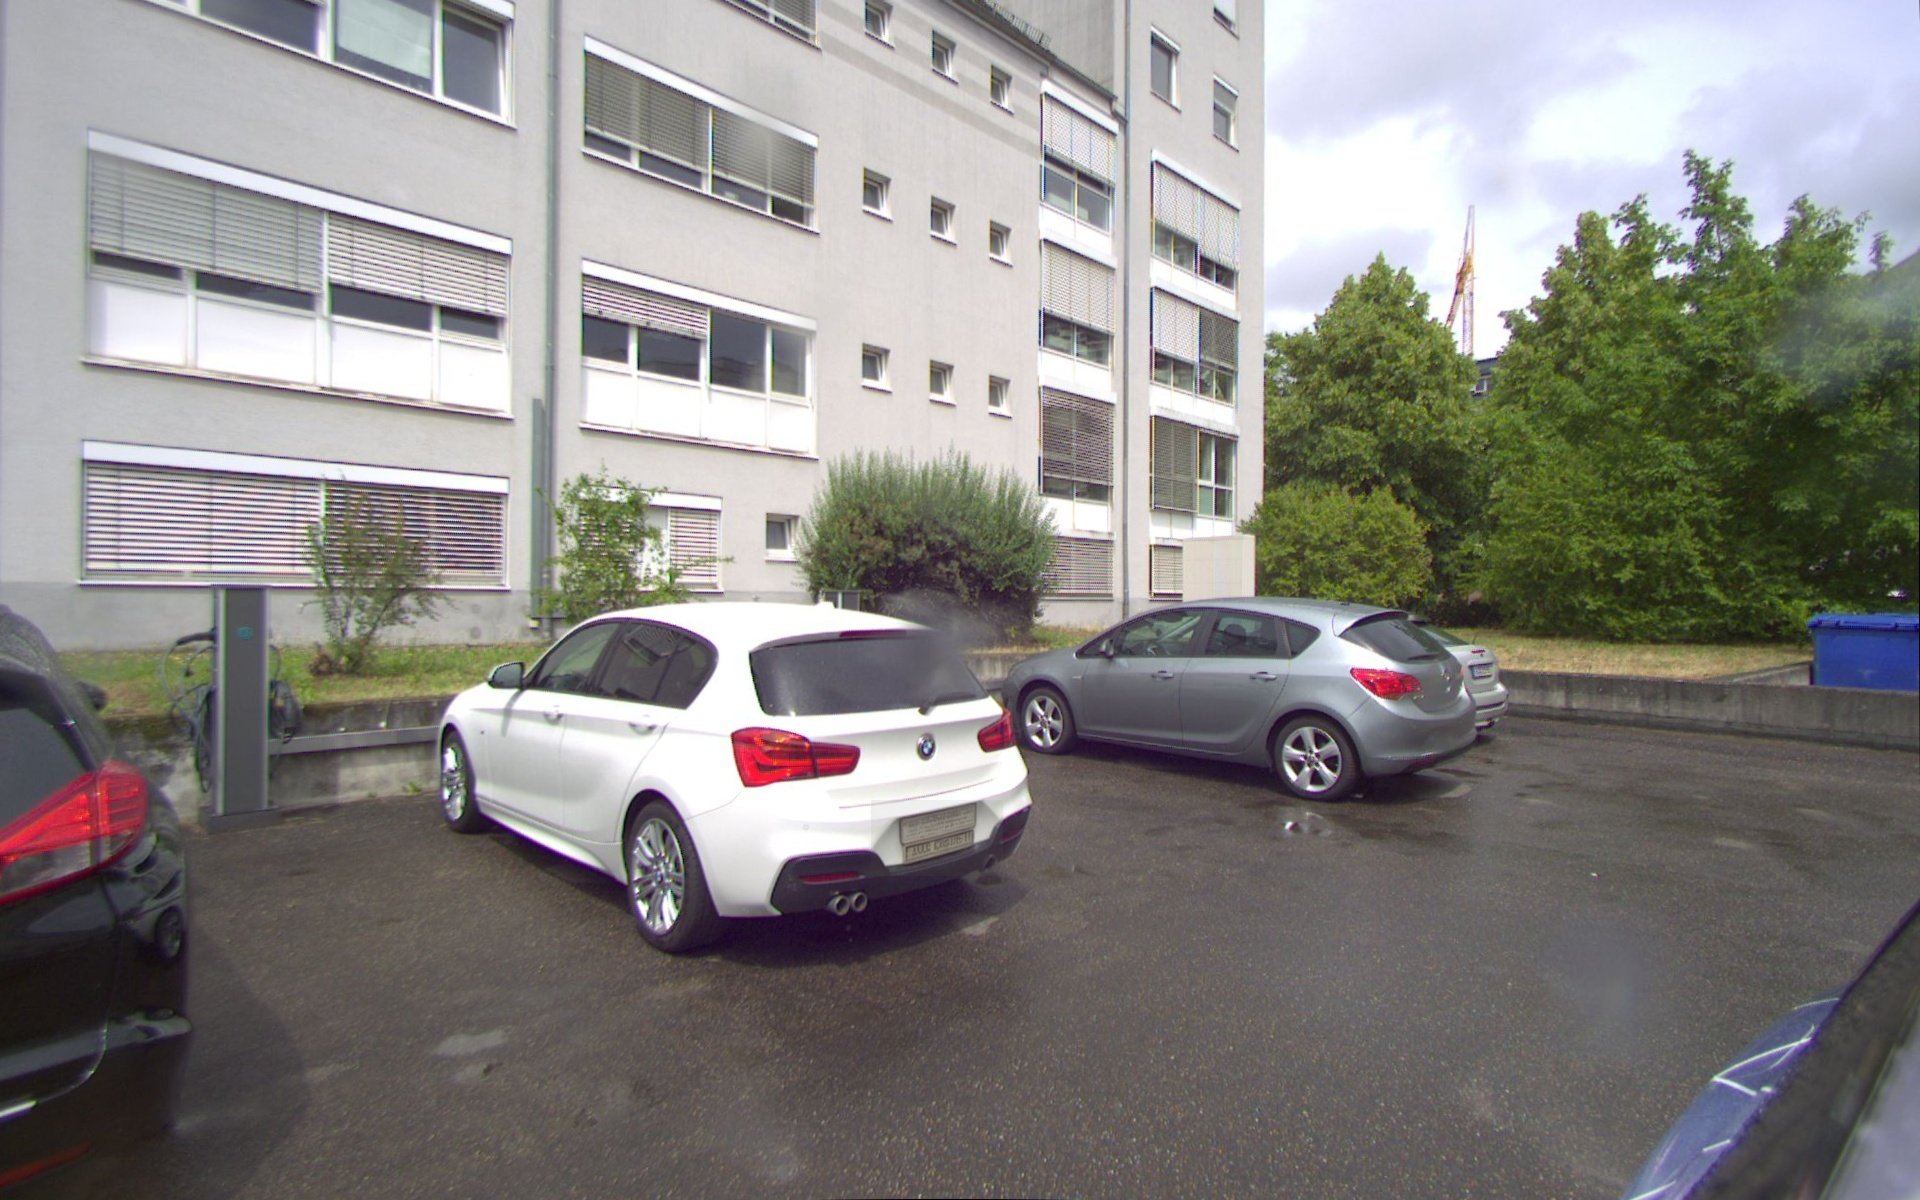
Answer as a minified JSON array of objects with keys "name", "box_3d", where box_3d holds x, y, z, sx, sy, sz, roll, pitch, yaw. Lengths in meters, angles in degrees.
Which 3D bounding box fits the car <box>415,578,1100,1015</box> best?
[{"name":"car","box_3d":[-1.408,0.638,5.576,1.803,1.473,4.101,0,1,-44]}]

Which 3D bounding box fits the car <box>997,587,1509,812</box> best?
[{"name":"car","box_3d":[2.338,0.648,8.894,1.640,1.476,4.084,-1,2,-43]}]

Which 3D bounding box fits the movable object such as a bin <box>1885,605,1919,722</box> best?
[{"name":"movable object such as a bin","box_3d":[13.019,0.823,13.185,1.082,1.502,1.277,2,-3,-40]}]

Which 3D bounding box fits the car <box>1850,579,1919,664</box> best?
[{"name":"car","box_3d":[24.435,0.508,23.813,1.963,2.039,4.951,0,-1,-36]}]

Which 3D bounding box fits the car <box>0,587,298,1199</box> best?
[{"name":"car","box_3d":[-3.616,0.688,2.995,4.170,1.418,1.909,1,1,44]}]

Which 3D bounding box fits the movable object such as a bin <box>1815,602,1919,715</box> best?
[{"name":"movable object such as a bin","box_3d":[11.635,0.713,12.690,1.037,1.334,1.232,2,-1,-40]}]

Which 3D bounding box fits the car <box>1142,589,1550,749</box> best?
[{"name":"car","box_3d":[4.208,0.627,11.544,1.759,1.371,3.996,0,2,-40]}]
